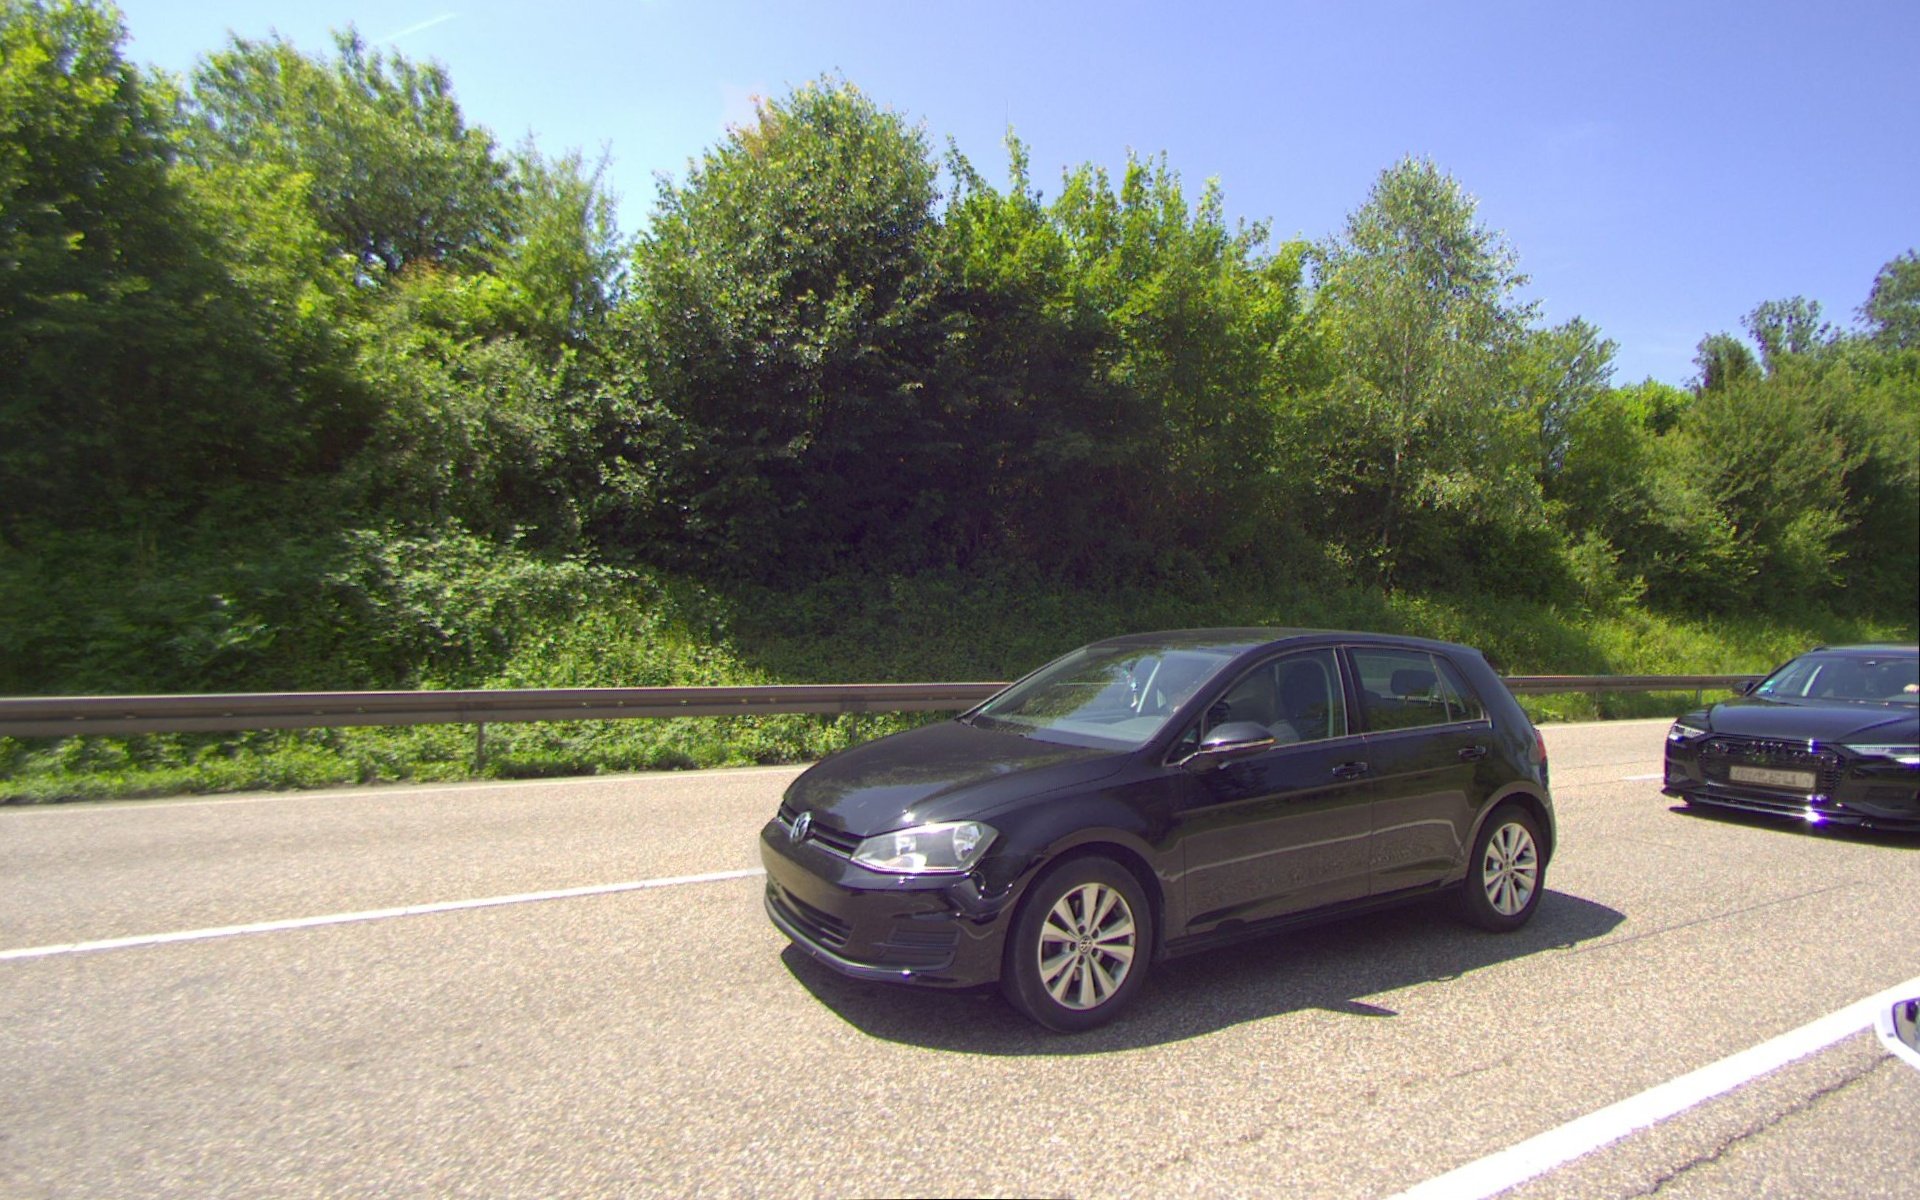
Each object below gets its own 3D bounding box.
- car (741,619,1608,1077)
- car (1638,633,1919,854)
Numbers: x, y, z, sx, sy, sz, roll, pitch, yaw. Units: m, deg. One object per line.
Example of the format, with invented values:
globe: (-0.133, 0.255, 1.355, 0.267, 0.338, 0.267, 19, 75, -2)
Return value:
car: (1.195, 0.851, 4.933, 4.132, 1.433, 1.674, 2, -2, -30)
car: (8.060, 1.086, 8.795, 4.334, 1.472, 1.796, 2, -1, -30)
